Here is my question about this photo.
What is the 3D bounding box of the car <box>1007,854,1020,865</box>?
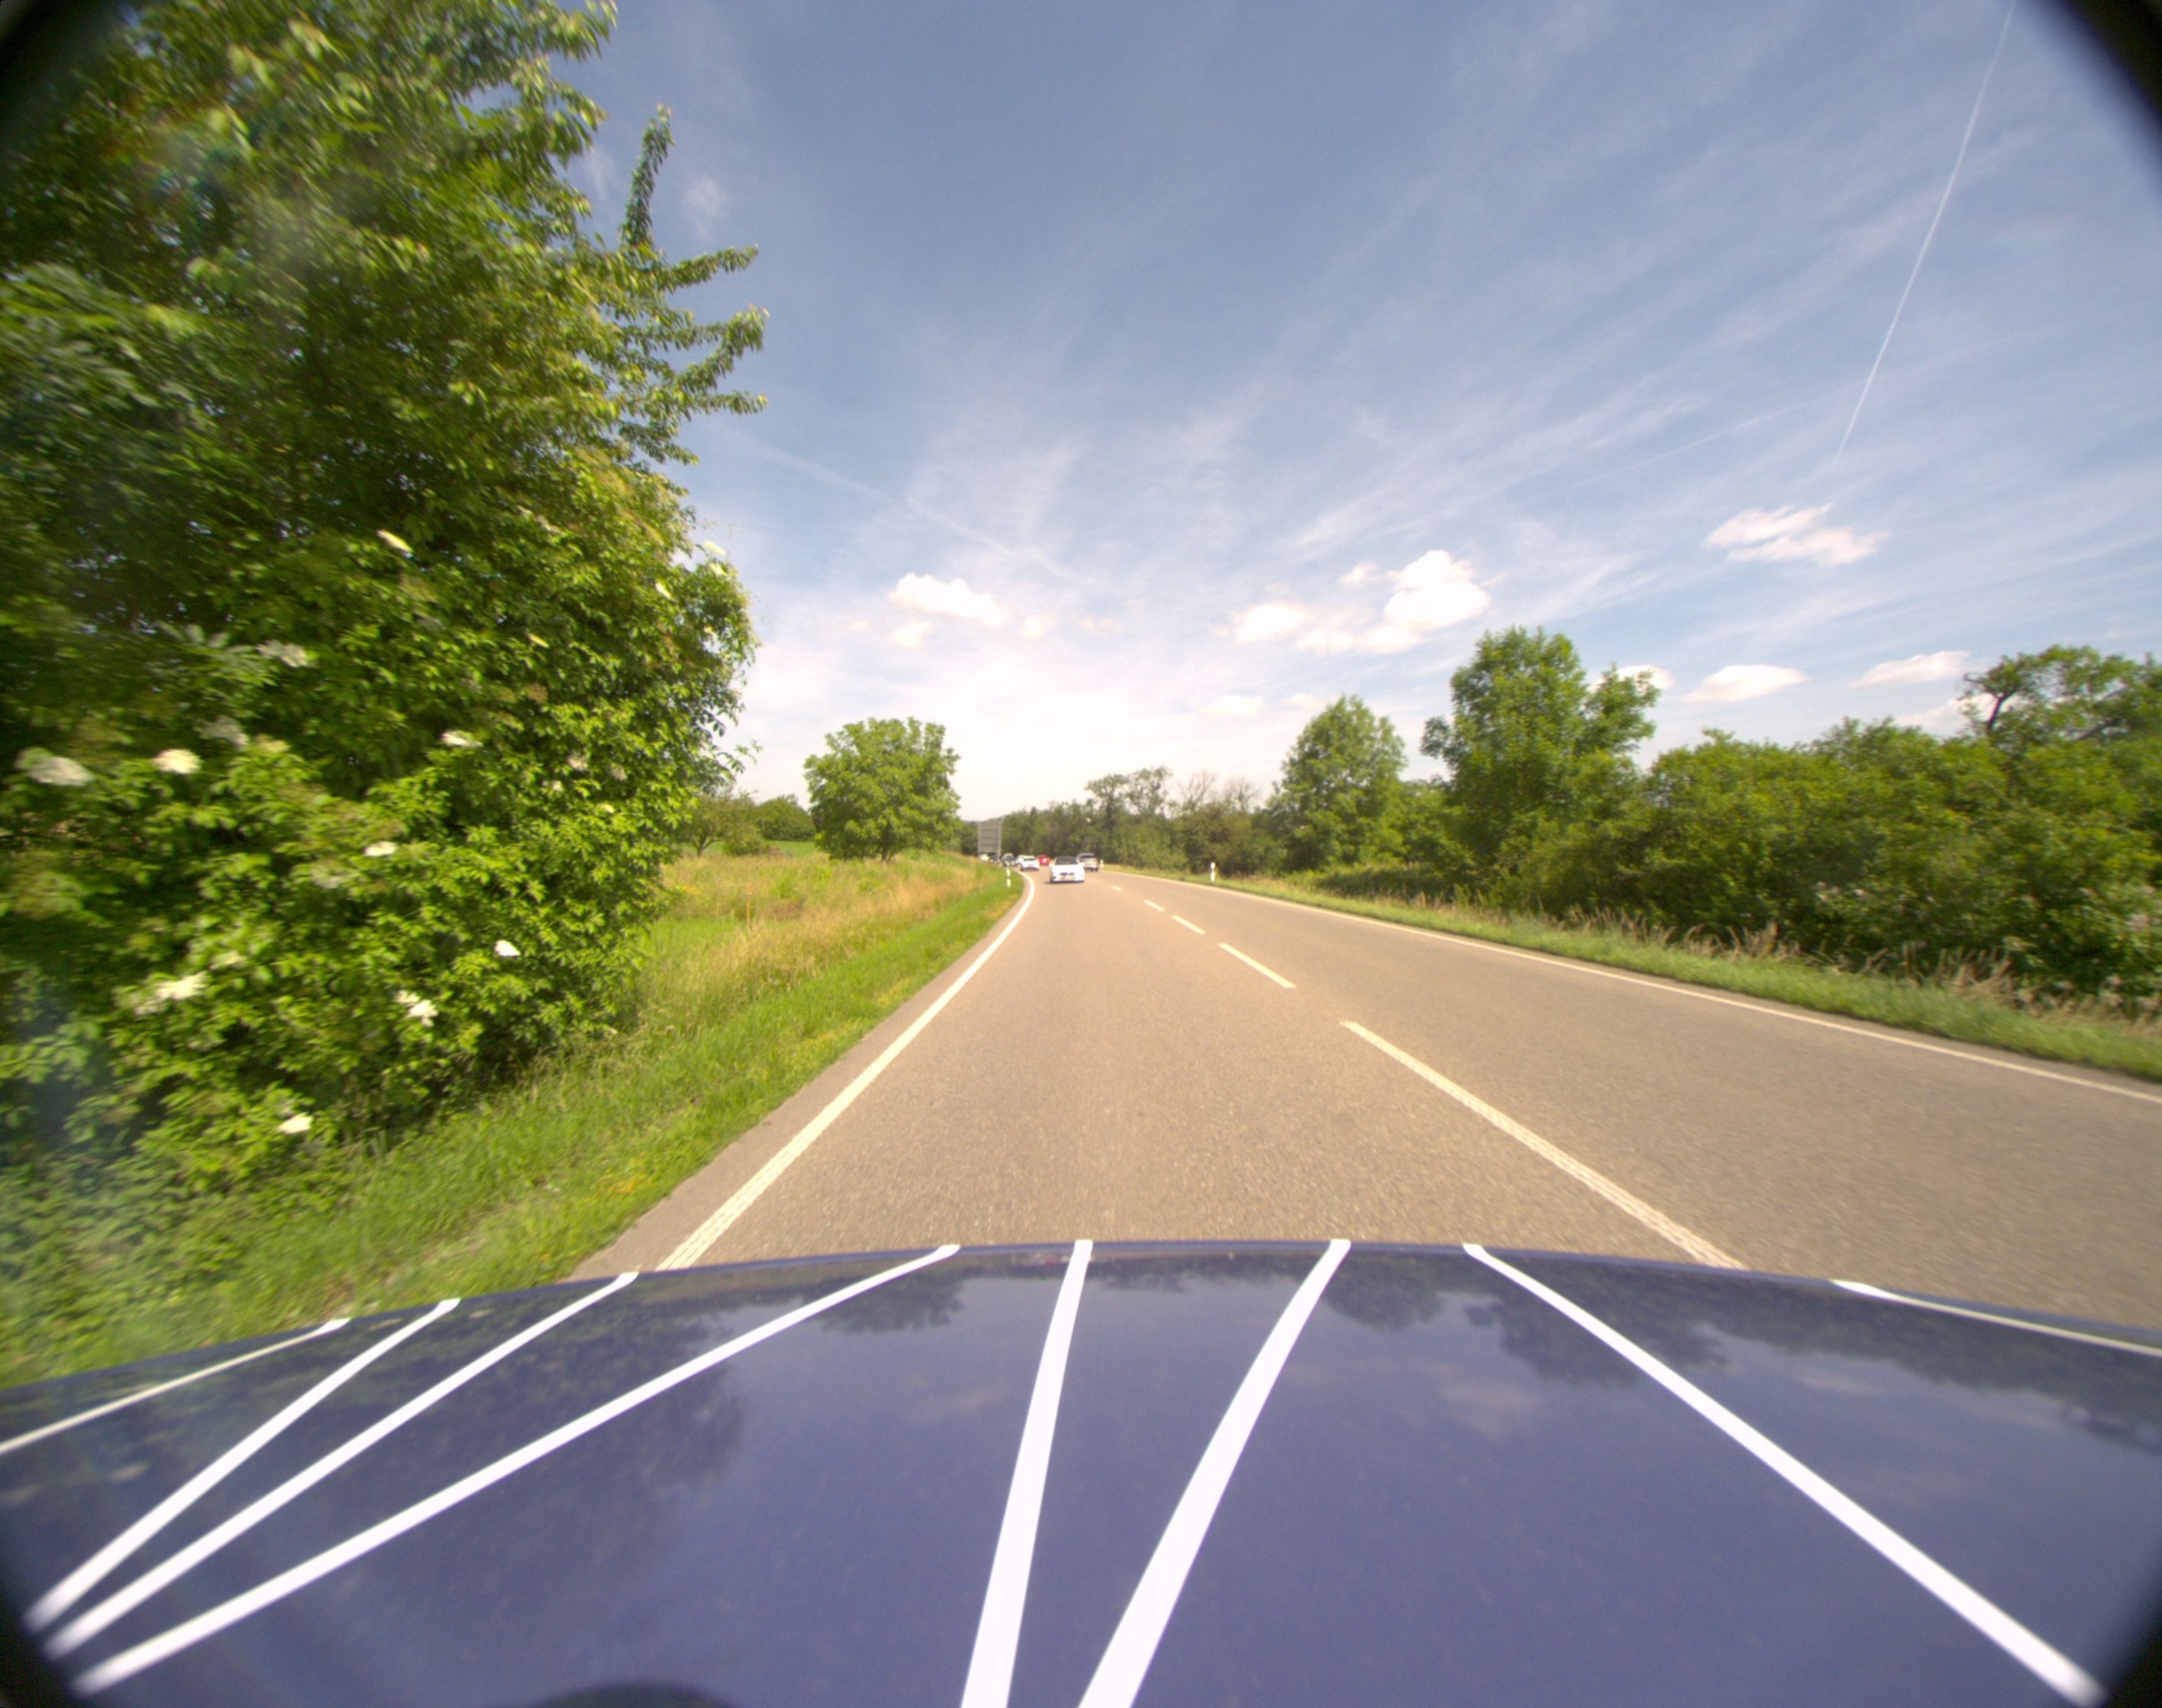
[{"bbox_3d":[-9.470,0.700,107.027,1.825,1.510,3.998,-1,0,-5],"label":"car"}]

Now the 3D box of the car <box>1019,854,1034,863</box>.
[{"bbox_3d":[-9.011,0.751,125.215,1.757,1.406,3.768,-1,0,-13],"label":"car"}]

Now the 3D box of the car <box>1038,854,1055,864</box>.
[{"bbox_3d":[-4.929,0.710,107.969,1.827,1.390,4.177,-1,0,-13],"label":"car"}]

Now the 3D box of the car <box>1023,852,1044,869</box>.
[{"bbox_3d":[-5.027,0.651,79.628,1.867,1.480,3.996,-3,2,-7],"label":"car"}]

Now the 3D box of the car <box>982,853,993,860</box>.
[{"bbox_3d":[-20.560,0.628,167.522,1.797,1.513,4.154,-1,0,-17],"label":"car"}]

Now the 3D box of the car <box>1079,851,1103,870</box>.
[{"bbox_3d":[0.874,0.601,69.936,1.962,1.596,4.400,-2,0,-2],"label":"car"}]

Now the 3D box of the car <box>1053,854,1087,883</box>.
[{"bbox_3d":[-0.684,0.805,43.367,1.773,1.437,3.998,-2,1,-3],"label":"car"}]

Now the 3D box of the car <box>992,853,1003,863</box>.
[{"bbox_3d":[-14.304,0.694,129.339,1.667,1.641,3.996,-1,0,-9],"label":"car"}]
